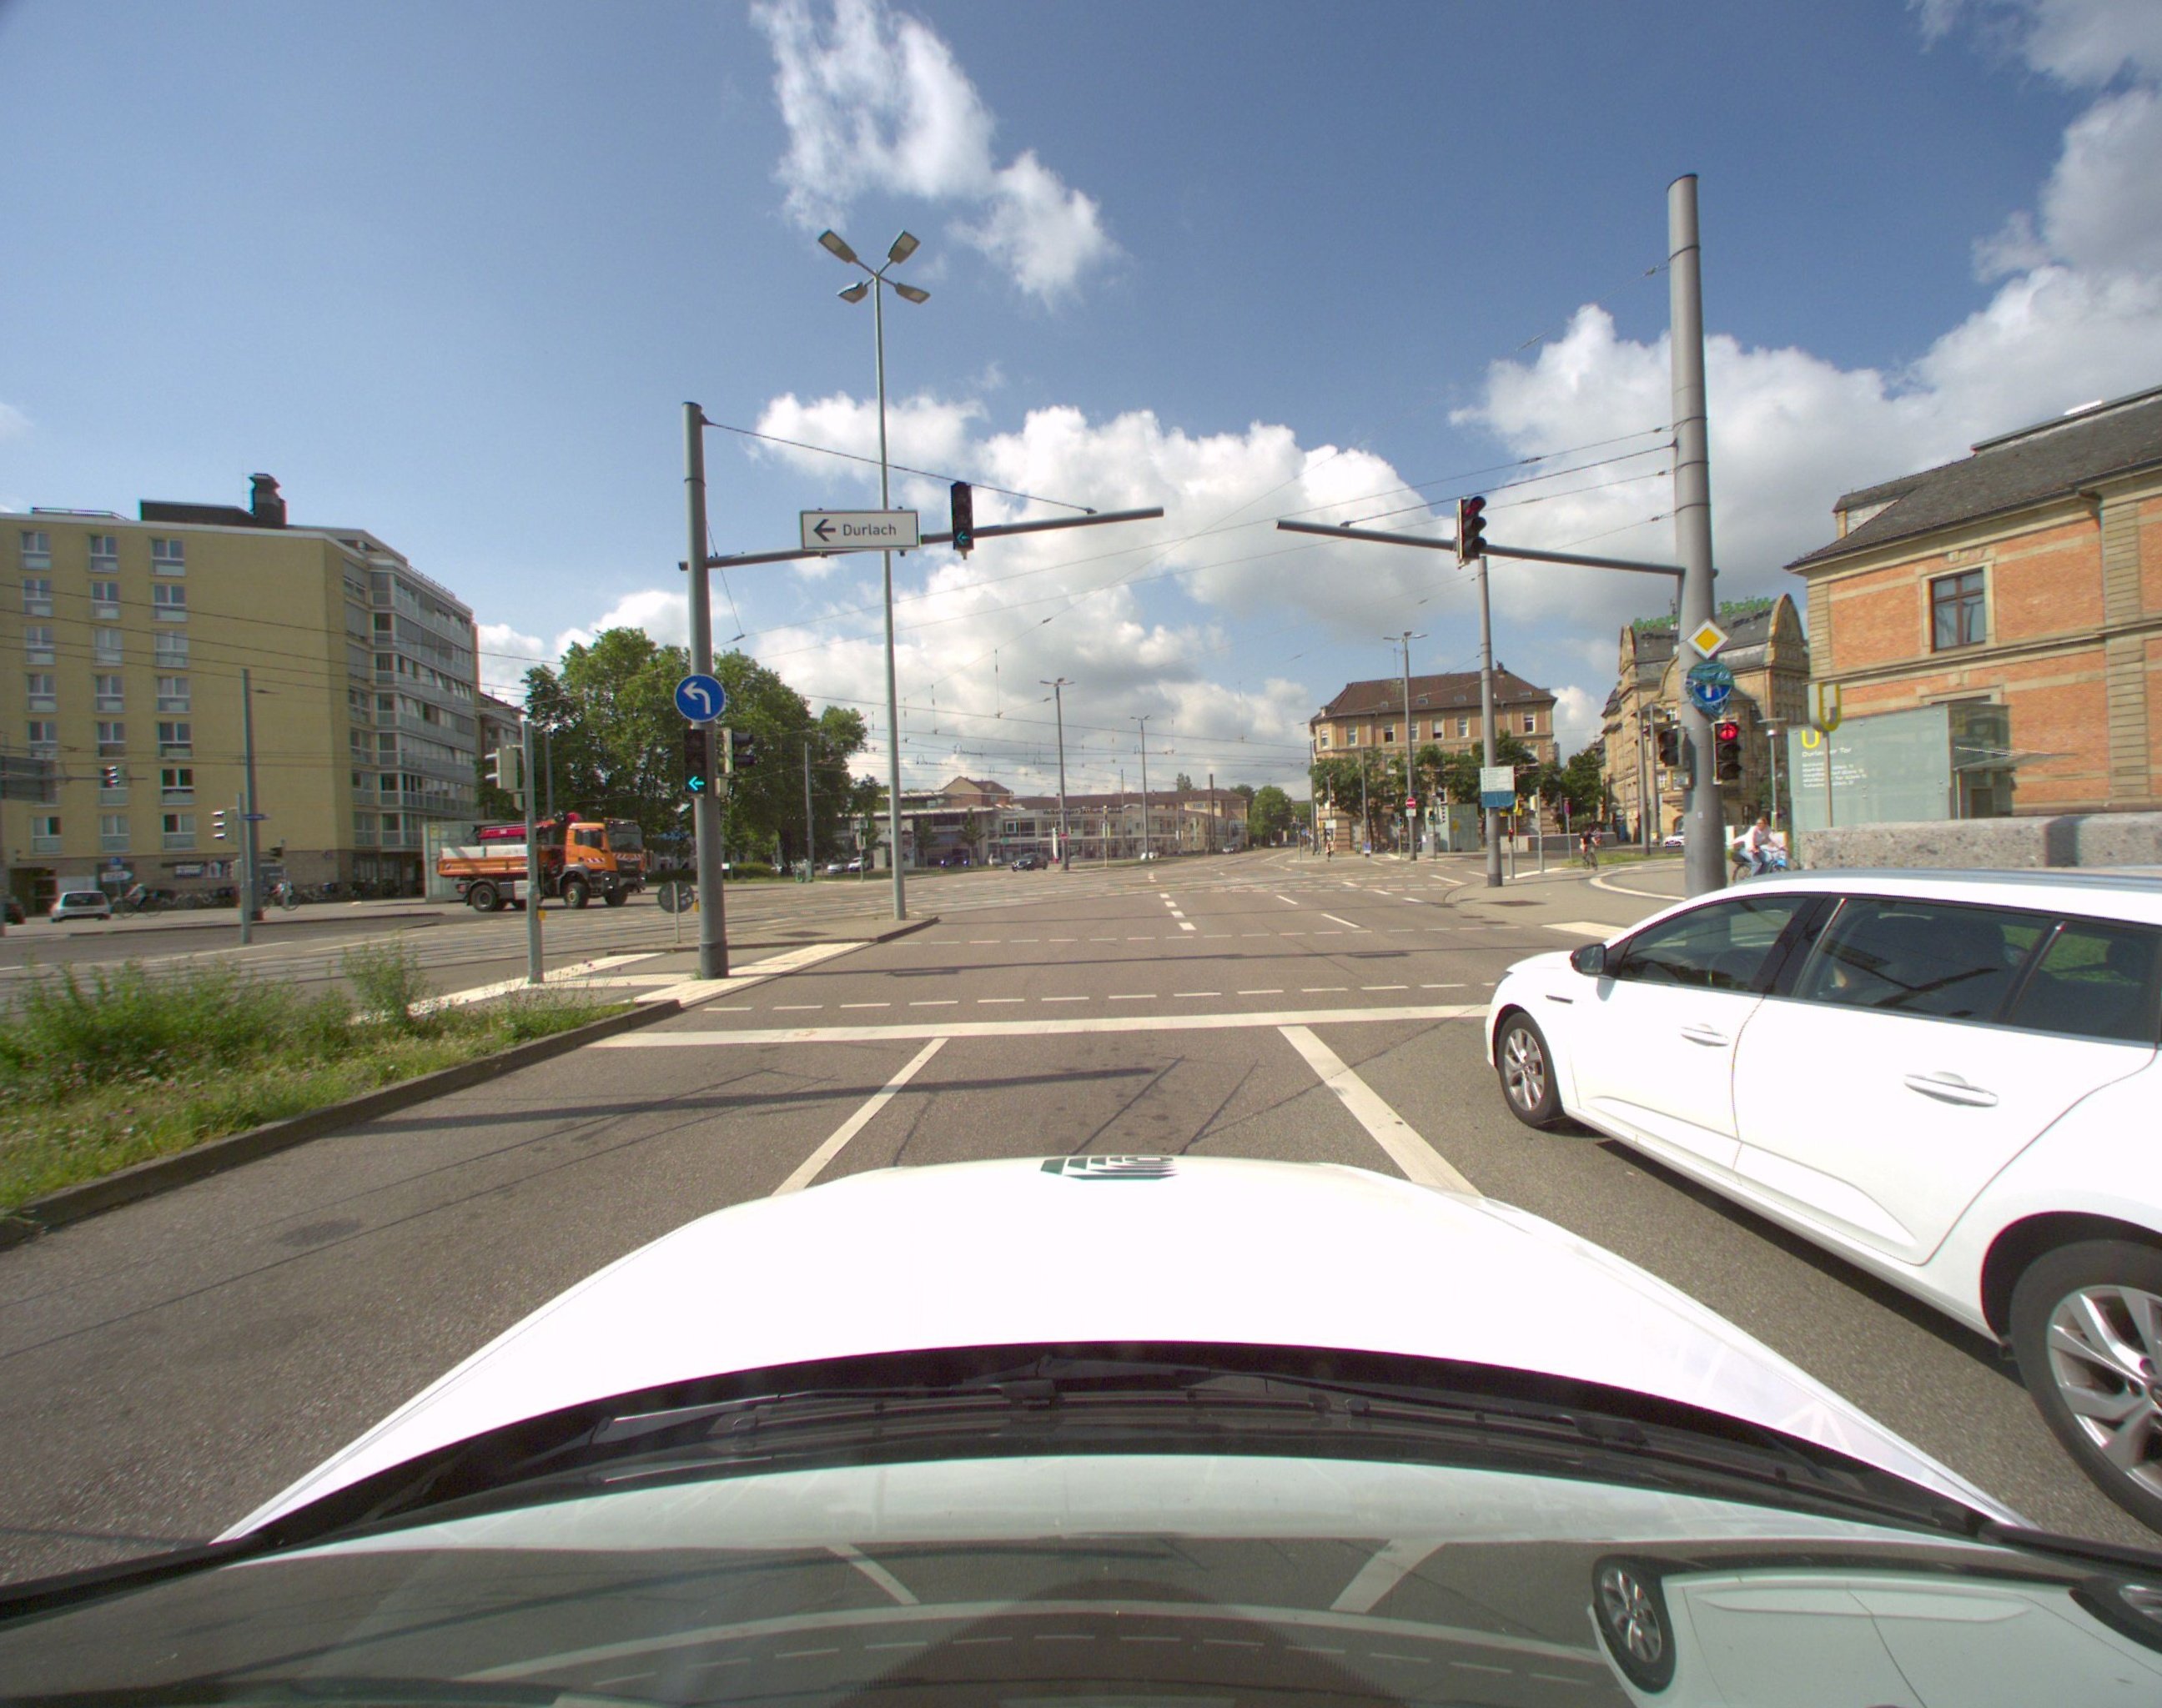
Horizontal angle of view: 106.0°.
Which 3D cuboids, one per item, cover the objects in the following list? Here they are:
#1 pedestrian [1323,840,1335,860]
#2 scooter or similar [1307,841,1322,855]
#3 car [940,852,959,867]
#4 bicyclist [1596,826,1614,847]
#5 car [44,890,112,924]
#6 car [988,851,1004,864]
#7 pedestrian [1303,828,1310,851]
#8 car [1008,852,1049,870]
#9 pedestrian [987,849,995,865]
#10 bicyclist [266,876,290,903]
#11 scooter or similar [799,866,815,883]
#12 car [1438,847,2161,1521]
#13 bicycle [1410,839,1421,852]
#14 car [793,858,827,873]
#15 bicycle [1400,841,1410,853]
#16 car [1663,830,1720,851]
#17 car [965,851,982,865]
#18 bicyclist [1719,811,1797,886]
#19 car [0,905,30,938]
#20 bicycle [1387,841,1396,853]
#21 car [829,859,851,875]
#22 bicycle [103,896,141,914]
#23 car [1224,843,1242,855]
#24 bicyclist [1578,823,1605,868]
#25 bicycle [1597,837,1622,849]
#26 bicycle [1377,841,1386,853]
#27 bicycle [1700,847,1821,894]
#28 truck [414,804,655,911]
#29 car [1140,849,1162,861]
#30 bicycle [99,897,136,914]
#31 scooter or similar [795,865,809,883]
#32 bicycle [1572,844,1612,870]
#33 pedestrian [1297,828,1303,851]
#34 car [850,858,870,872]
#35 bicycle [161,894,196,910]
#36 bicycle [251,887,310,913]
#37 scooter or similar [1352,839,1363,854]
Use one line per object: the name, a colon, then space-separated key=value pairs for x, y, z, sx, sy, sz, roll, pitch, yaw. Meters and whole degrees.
pedestrian: x=19.170 y=-0.311 z=62.874 sx=0.733 sy=1.516 sz=0.548 roll=-2 pitch=0 yaw=25
scooter or similar: x=24.174 y=-0.652 z=84.322 sx=1.169 sy=1.386 sz=2.812 roll=-1 pitch=-1 yaw=11
car: x=-16.774 y=0.681 z=104.028 sx=1.989 sy=1.838 sz=3.995 roll=-3 pitch=0 yaw=-3
bicyclist: x=44.366 y=-1.468 z=68.959 sx=1.146 sy=1.674 sz=0.612 roll=-3 pitch=0 yaw=-14
car: x=-49.416 y=2.626 z=40.102 sx=3.451 sy=1.453 sz=1.790 roll=-4 pitch=-1 yaw=34
car: x=-10.914 y=0.487 z=104.544 sx=1.927 sy=1.683 sz=3.989 roll=0 pitch=-1 yaw=-8
pedestrian: x=29.801 y=-1.917 z=107.771 sx=0.718 sy=3.076 sz=0.893 roll=-1 pitch=-1 yaw=26
car: x=-4.310 y=0.582 z=67.650 sx=1.849 sy=1.376 sz=3.961 roll=-2 pitch=0 yaw=20
pedestrian: x=-11.212 y=0.350 z=101.750 sx=0.868 sy=2.013 sz=0.702 roll=-2 pitch=0 yaw=-7
bicyclist: x=-40.034 y=1.756 z=40.609 sx=0.391 sy=1.336 sz=0.786 roll=-1 pitch=-1 yaw=10
scooter or similar: x=-19.133 y=1.410 z=56.858 sx=1.051 sy=1.196 sz=0.384 roll=-1 pitch=-1 yaw=28
car: x=3.219 y=0.708 z=3.170 sx=1.751 sy=1.429 sz=4.677 roll=-1 pitch=-1 yaw=2
bicycle: x=33.327 y=-0.851 z=81.207 sx=0.752 sy=1.165 sz=2.698 roll=-2 pitch=0 yaw=19
car: x=-37.102 y=1.604 z=111.622 sx=3.966 sy=2.014 sz=2.003 roll=-1 pitch=-1 yaw=6
bicycle: x=32.383 y=-0.729 z=81.441 sx=0.752 sy=1.166 sz=2.698 roll=-1 pitch=-1 yaw=19
car: x=50.227 y=-1.079 z=66.988 sx=4.514 sy=1.596 sz=1.940 roll=0 pitch=-1 yaw=-26
car: x=-13.623 y=0.537 z=103.454 sx=1.990 sy=1.725 sz=3.994 roll=0 pitch=-1 yaw=-4
bicyclist: x=13.971 y=-0.112 z=16.840 sx=0.631 sy=1.457 sz=1.170 roll=-2 pitch=0 yaw=2
car: x=-51.808 y=3.237 z=38.781 sx=4.540 sy=1.460 sz=1.951 roll=-3 pitch=-1 yaw=35
bicycle: x=31.235 y=-0.745 z=81.997 sx=0.752 sy=1.165 sz=2.698 roll=1 pitch=1 yaw=19
car: x=-30.961 y=1.675 z=104.578 sx=1.992 sy=2.014 sz=3.990 roll=1 pitch=-1 yaw=-7
bicycle: x=-55.755 y=2.971 z=47.362 sx=1.463 sy=0.922 sz=0.291 roll=-2 pitch=0 yaw=-18
car: x=23.131 y=-0.765 z=124.021 sx=1.976 sy=1.574 sz=3.757 roll=-2 pitch=0 yaw=22
bicyclist: x=19.697 y=-0.318 z=31.437 sx=0.573 sy=1.672 sz=0.941 roll=-3 pitch=0 yaw=14
bicycle: x=44.571 y=-0.932 z=68.649 sx=1.779 sy=0.956 sz=0.841 roll=-3 pitch=-1 yaw=-20
bicycle: x=30.446 y=-0.691 z=82.482 sx=0.752 sy=1.165 sz=2.698 roll=-2 pitch=0 yaw=19
bicycle: x=13.971 y=0.314 z=16.848 sx=0.648 sy=0.897 sz=2.277 roll=-2 pitch=0 yaw=2
truck: x=-21.827 y=0.169 z=32.741 sx=8.005 sy=4.009 sz=2.842 roll=-1 pitch=-1 yaw=6
car: x=8.806 y=0.169 z=101.816 sx=1.670 sy=1.470 sz=3.676 roll=-1 pitch=-1 yaw=22
bicycle: x=-55.666 y=2.989 z=47.057 sx=1.463 sy=0.922 sz=0.291 roll=-1 pitch=-1 yaw=-18
scooter or similar: x=-19.285 y=1.364 z=56.327 sx=1.051 sy=1.196 sz=0.384 roll=-1 pitch=-1 yaw=38
bicycle: x=19.731 y=0.099 z=31.467 sx=0.753 sy=0.875 sz=1.816 roll=-5 pitch=0 yaw=14
pedestrian: x=29.092 y=-1.907 z=108.123 sx=0.660 sy=3.120 sz=0.893 roll=-1 pitch=-1 yaw=26
car: x=-28.467 y=1.424 z=104.999 sx=1.784 sy=1.682 sz=3.990 roll=-2 pitch=0 yaw=-7
bicycle: x=-53.132 y=2.818 z=47.941 sx=1.462 sy=0.922 sz=0.292 roll=0 pitch=-1 yaw=-15
bicycle: x=-40.005 y=2.282 z=40.729 sx=0.539 sy=1.106 sz=2.107 roll=-2 pitch=0 yaw=12
scooter or similar: x=27.948 y=-0.735 z=82.381 sx=0.871 sy=1.482 sz=2.023 roll=-2 pitch=0 yaw=17
